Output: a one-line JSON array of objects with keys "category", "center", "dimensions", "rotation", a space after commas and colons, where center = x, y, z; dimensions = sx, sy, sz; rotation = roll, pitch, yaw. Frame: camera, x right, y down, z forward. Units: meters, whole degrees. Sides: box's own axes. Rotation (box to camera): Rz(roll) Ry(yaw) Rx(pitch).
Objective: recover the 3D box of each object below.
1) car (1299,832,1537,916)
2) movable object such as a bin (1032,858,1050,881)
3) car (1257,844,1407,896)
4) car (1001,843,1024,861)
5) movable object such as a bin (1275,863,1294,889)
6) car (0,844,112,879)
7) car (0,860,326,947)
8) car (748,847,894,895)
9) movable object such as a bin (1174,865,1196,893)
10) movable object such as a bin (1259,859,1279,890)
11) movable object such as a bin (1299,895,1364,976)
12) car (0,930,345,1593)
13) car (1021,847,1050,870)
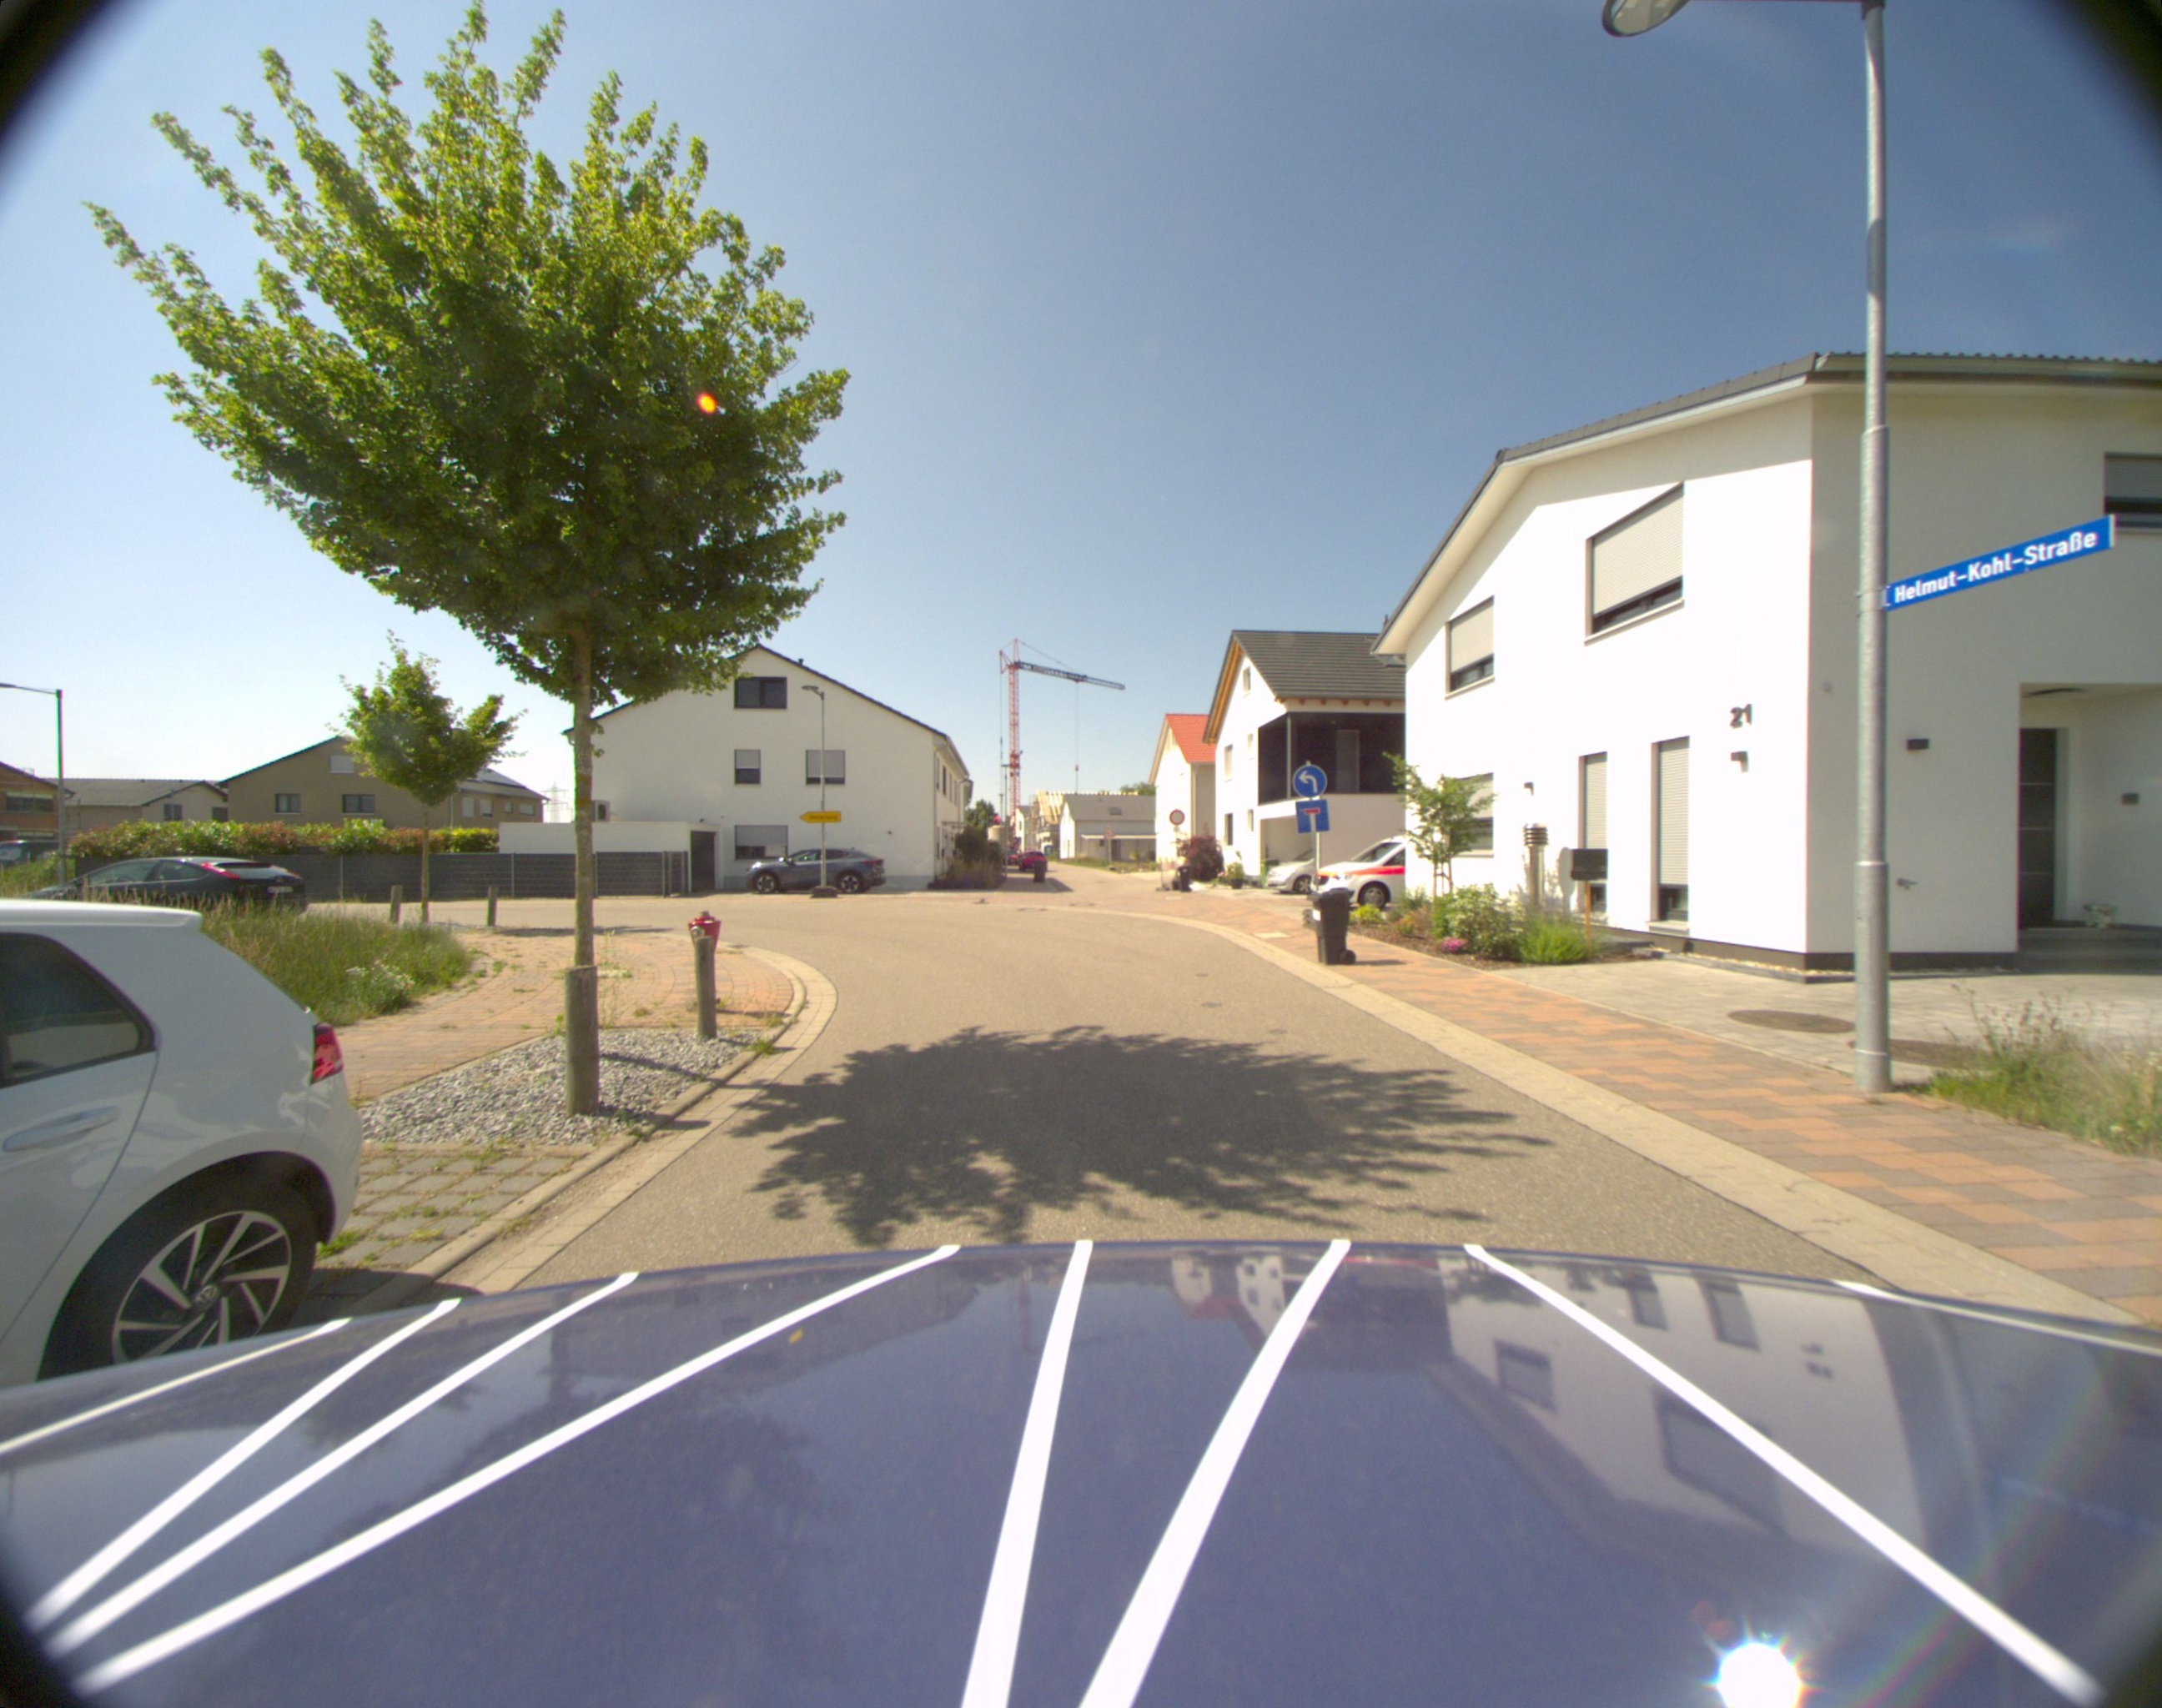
[{"category": "car", "center": [7.779, 0.431, 17.837], "dimensions": [4.750, 1.864, 1.937], "rotation": [0, 1, -4]}, {"category": "movable object such as a bin", "center": [-1.903, 0.741, 36.356], "dimensions": [0.824, 1.058, 0.589], "rotation": [-1, 2, -6]}, {"category": "car", "center": [7.918, 0.486, 24.116], "dimensions": [4.165, 1.553, 1.744], "rotation": [0, 1, -7]}, {"category": "car", "center": [-6.652, -0.218, 73.328], "dimensions": [1.804, 1.609, 3.671], "rotation": [-1, 2, -12]}, {"category": "movable object such as a bin", "center": [7.317, 0.778, 27.340], "dimensions": [0.500, 0.900, 0.561], "rotation": [-1, 2, -6]}, {"category": "car", "center": [-61.370, 0.434, 45.482], "dimensions": [2.000, 2.002, 3.996], "rotation": [0, 1, -10]}, {"category": "car", "center": [-18.226, 0.923, 15.123], "dimensions": [4.194, 1.485, 1.847], "rotation": [-1, 2, -8]}, {"category": "car", "center": [-8.864, 0.570, 26.213], "dimensions": [4.349, 1.549, 1.960], "rotation": [0, 0, -3]}, {"category": "movable object such as a bin", "center": [3.621, 0.860, 26.399], "dimensions": [0.618, 0.931, 0.564], "rotation": [-1, 0, -6]}, {"category": "movable object such as a bin", "center": [6.741, 0.726, 27.232], "dimensions": [0.500, 1.085, 0.601], "rotation": [-1, 0, -6]}, {"category": "movable object such as a bin", "center": [3.127, 1.012, 9.530], "dimensions": [0.625, 0.943, 0.499], "rotation": [-1, 2, -6]}, {"category": "car", "center": [-3.326, 0.965, 0.438], "dimensions": [1.780, 1.411, 4.165], "rotation": [1, 0, -1]}, {"category": "car", "center": [-3.289, 0.302, 53.974], "dimensions": [1.912, 1.471, 3.997], "rotation": [0, 2, -6]}]
